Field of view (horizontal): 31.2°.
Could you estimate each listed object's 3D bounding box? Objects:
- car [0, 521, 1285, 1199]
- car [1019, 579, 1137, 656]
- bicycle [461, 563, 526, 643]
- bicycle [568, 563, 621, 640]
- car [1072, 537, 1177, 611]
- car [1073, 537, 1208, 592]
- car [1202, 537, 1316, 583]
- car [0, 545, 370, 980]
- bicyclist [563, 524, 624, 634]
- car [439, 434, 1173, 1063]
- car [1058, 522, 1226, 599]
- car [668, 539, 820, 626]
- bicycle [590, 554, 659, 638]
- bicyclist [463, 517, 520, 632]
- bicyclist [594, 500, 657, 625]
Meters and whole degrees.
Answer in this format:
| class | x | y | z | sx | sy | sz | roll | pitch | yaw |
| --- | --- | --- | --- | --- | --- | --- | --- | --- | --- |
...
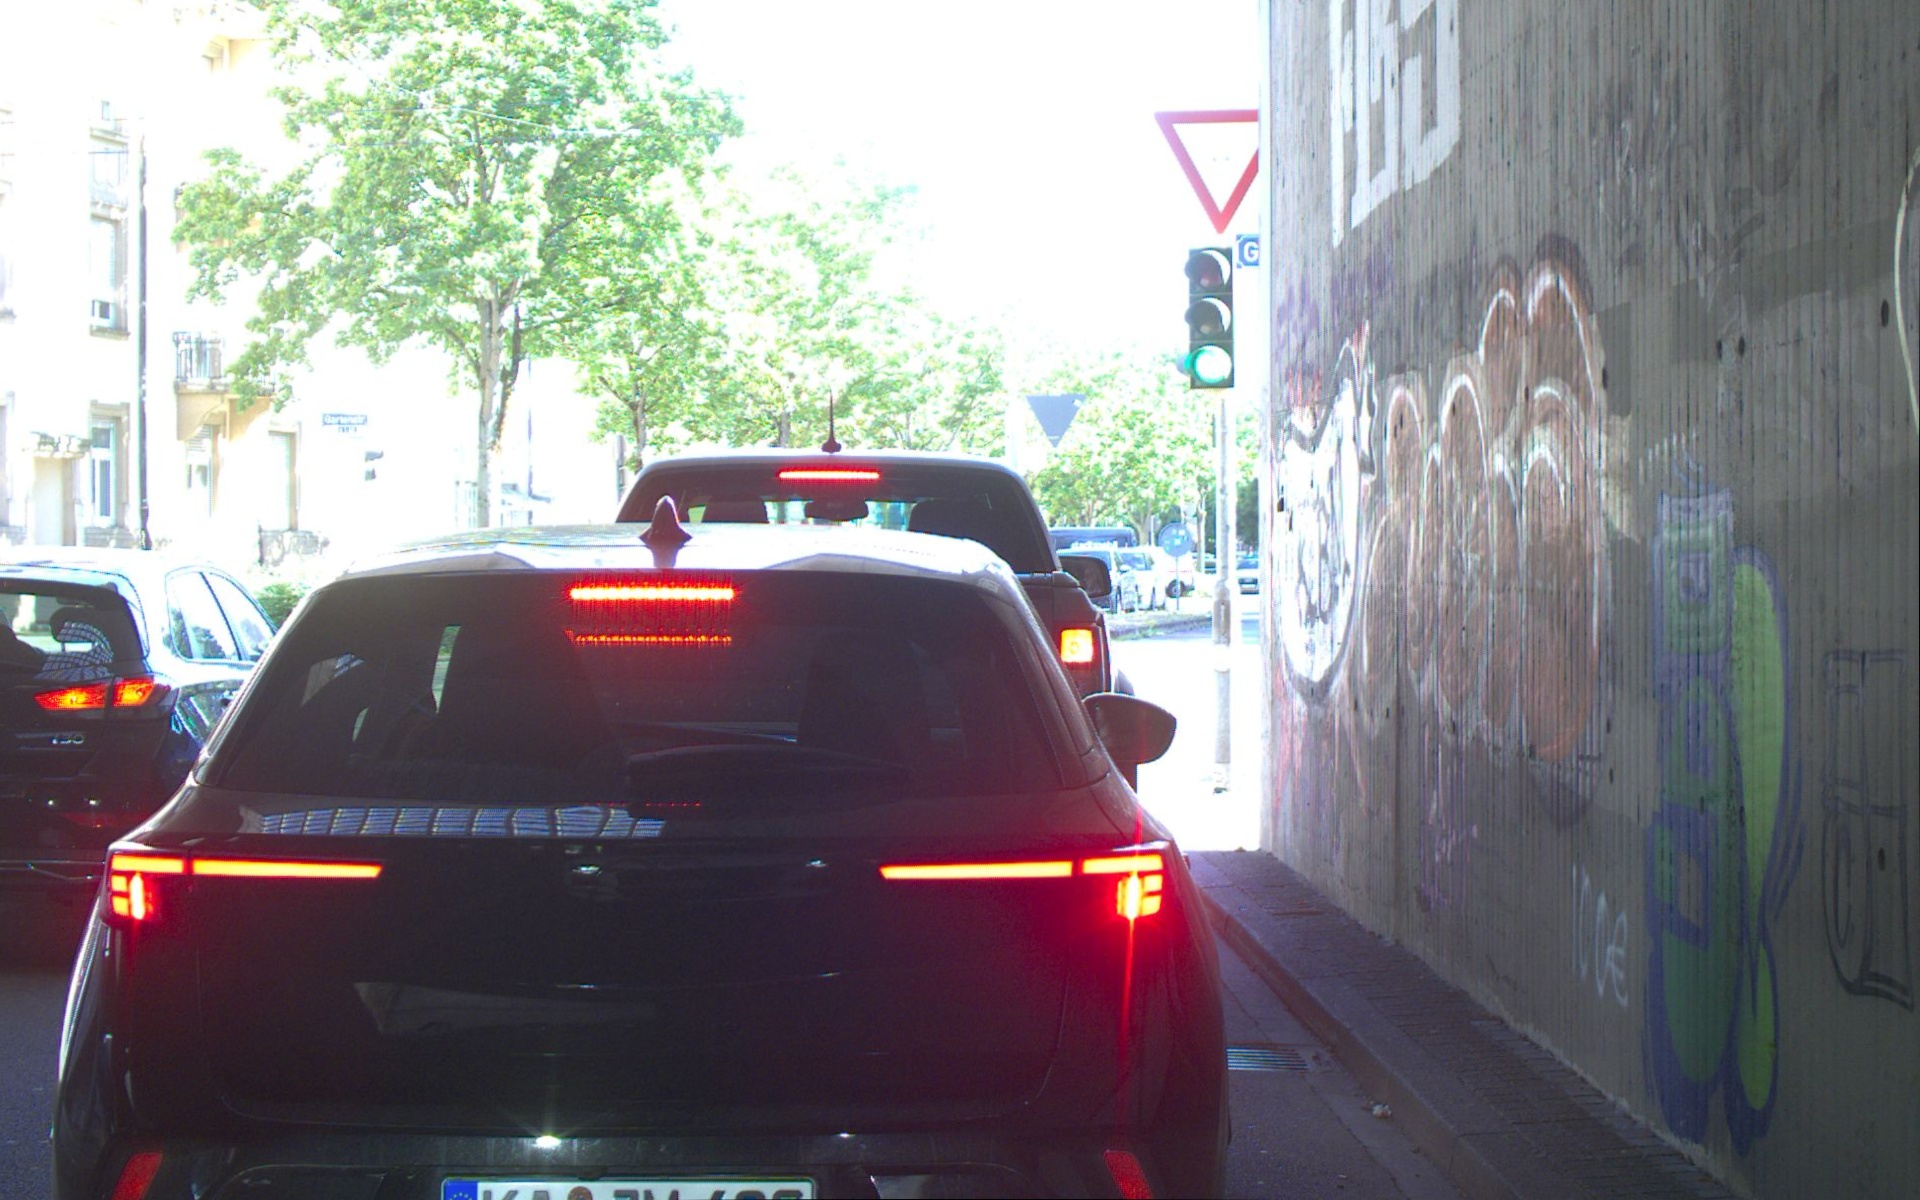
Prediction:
| class | x | y | z | sx | sy | sz | roll | pitch | yaw |
| --- | --- | --- | --- | --- | --- | --- | --- | --- | --- |
| car | -0.480 | 0.622 | 6.508 | 1.781 | 1.512 | 3.756 | 0 | 1 | -1 |
| car | 2.369 | 0.330 | 68.271 | 1.708 | 1.447 | 3.849 | 0 | 1 | 12 |
| bicycle | -6.616 | 0.032 | 48.830 | 0.525 | 1.086 | 1.860 | 0 | 1 | 5 |
| bicycle | -5.554 | 0.006 | 52.340 | 0.541 | 1.119 | 2.058 | 0 | 1 | 1 |
| car | 3.610 | -0.580 | 74.993 | 1.705 | 1.507 | 3.861 | -2 | 1 | 11 |
| car | 7.037 | -1.369 | 134.138 | 4.883 | 2.076 | 1.986 | -1 | 0 | -25 |
| car | 13.986 | -1.876 | 160.906 | 4.882 | 2.076 | 1.986 | -1 | 0 | -14 |
| car | -3.577 | 0.517 | 13.705 | 1.801 | 1.446 | 4.327 | 0 | 1 | -1 |
| bicyclist | -5.574 | -0.333 | 52.339 | 0.782 | 1.654 | 1.031 | 0 | 1 | 1 |
| car | -0.472 | 0.390 | 12.521 | 2.133 | 1.829 | 4.941 | 0 | 1 | -1 |
| car | 6.147 | -1.331 | 116.127 | 5.259 | 2.537 | 1.986 | -1 | 0 | -15 |
| car | -3.676 | -0.325 | 59.125 | 1.658 | 1.436 | 3.461 | 0 | 1 | 14 |
| bicycle | -4.688 | -0.065 | 48.179 | 0.698 | 1.086 | 1.860 | 0 | 3 | 3 |
| bicyclist | -6.643 | -0.367 | 48.805 | 0.606 | 1.627 | 0.910 | 0 | 1 | 5 |
| bicyclist | -4.686 | -0.532 | 48.195 | 0.745 | 1.705 | 0.967 | 0 | 3 | 2 |
